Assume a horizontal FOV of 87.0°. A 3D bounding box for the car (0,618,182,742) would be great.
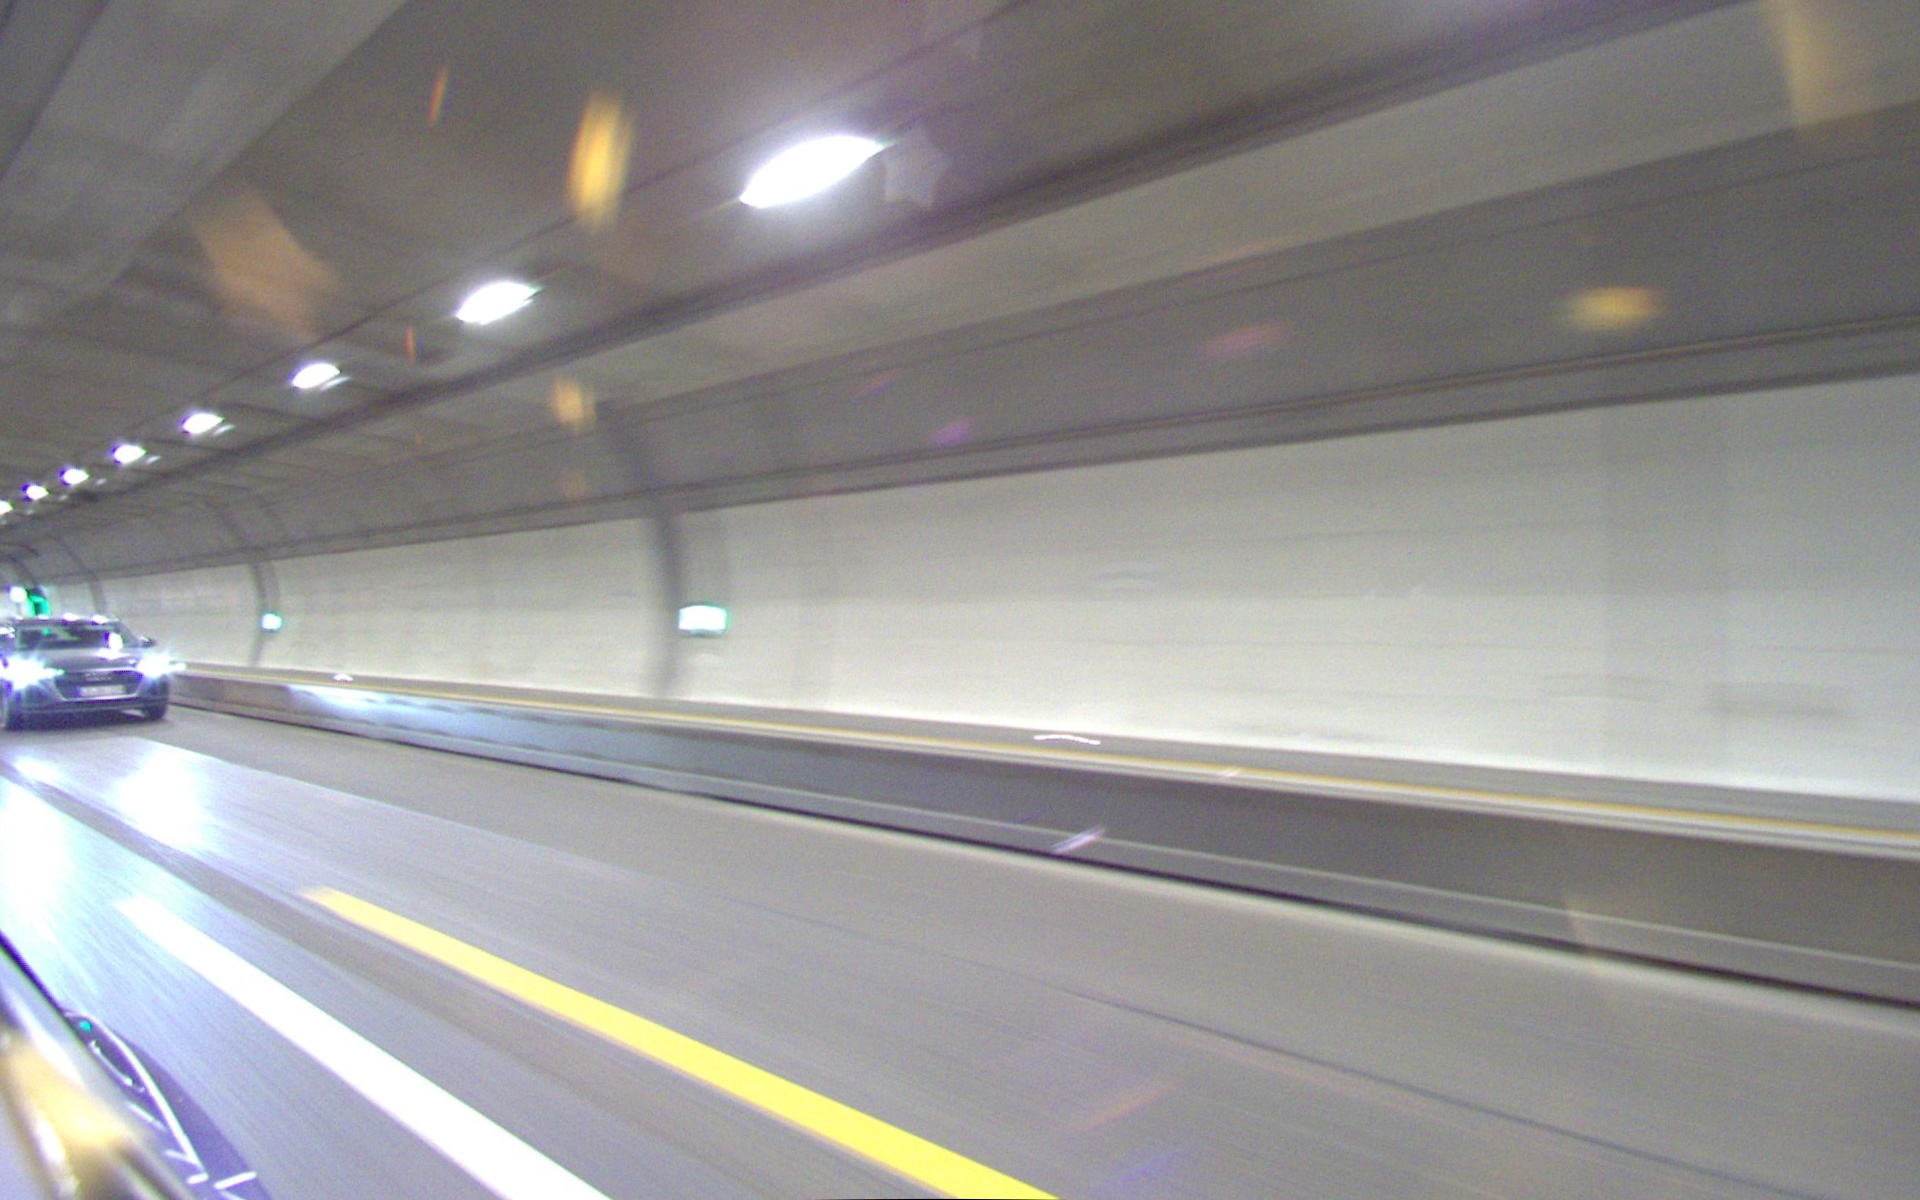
[{"bbox_3d":[-13.588,1.070,15.239,4.738,1.552,1.974,-1,0,39],"label":"car"}]
